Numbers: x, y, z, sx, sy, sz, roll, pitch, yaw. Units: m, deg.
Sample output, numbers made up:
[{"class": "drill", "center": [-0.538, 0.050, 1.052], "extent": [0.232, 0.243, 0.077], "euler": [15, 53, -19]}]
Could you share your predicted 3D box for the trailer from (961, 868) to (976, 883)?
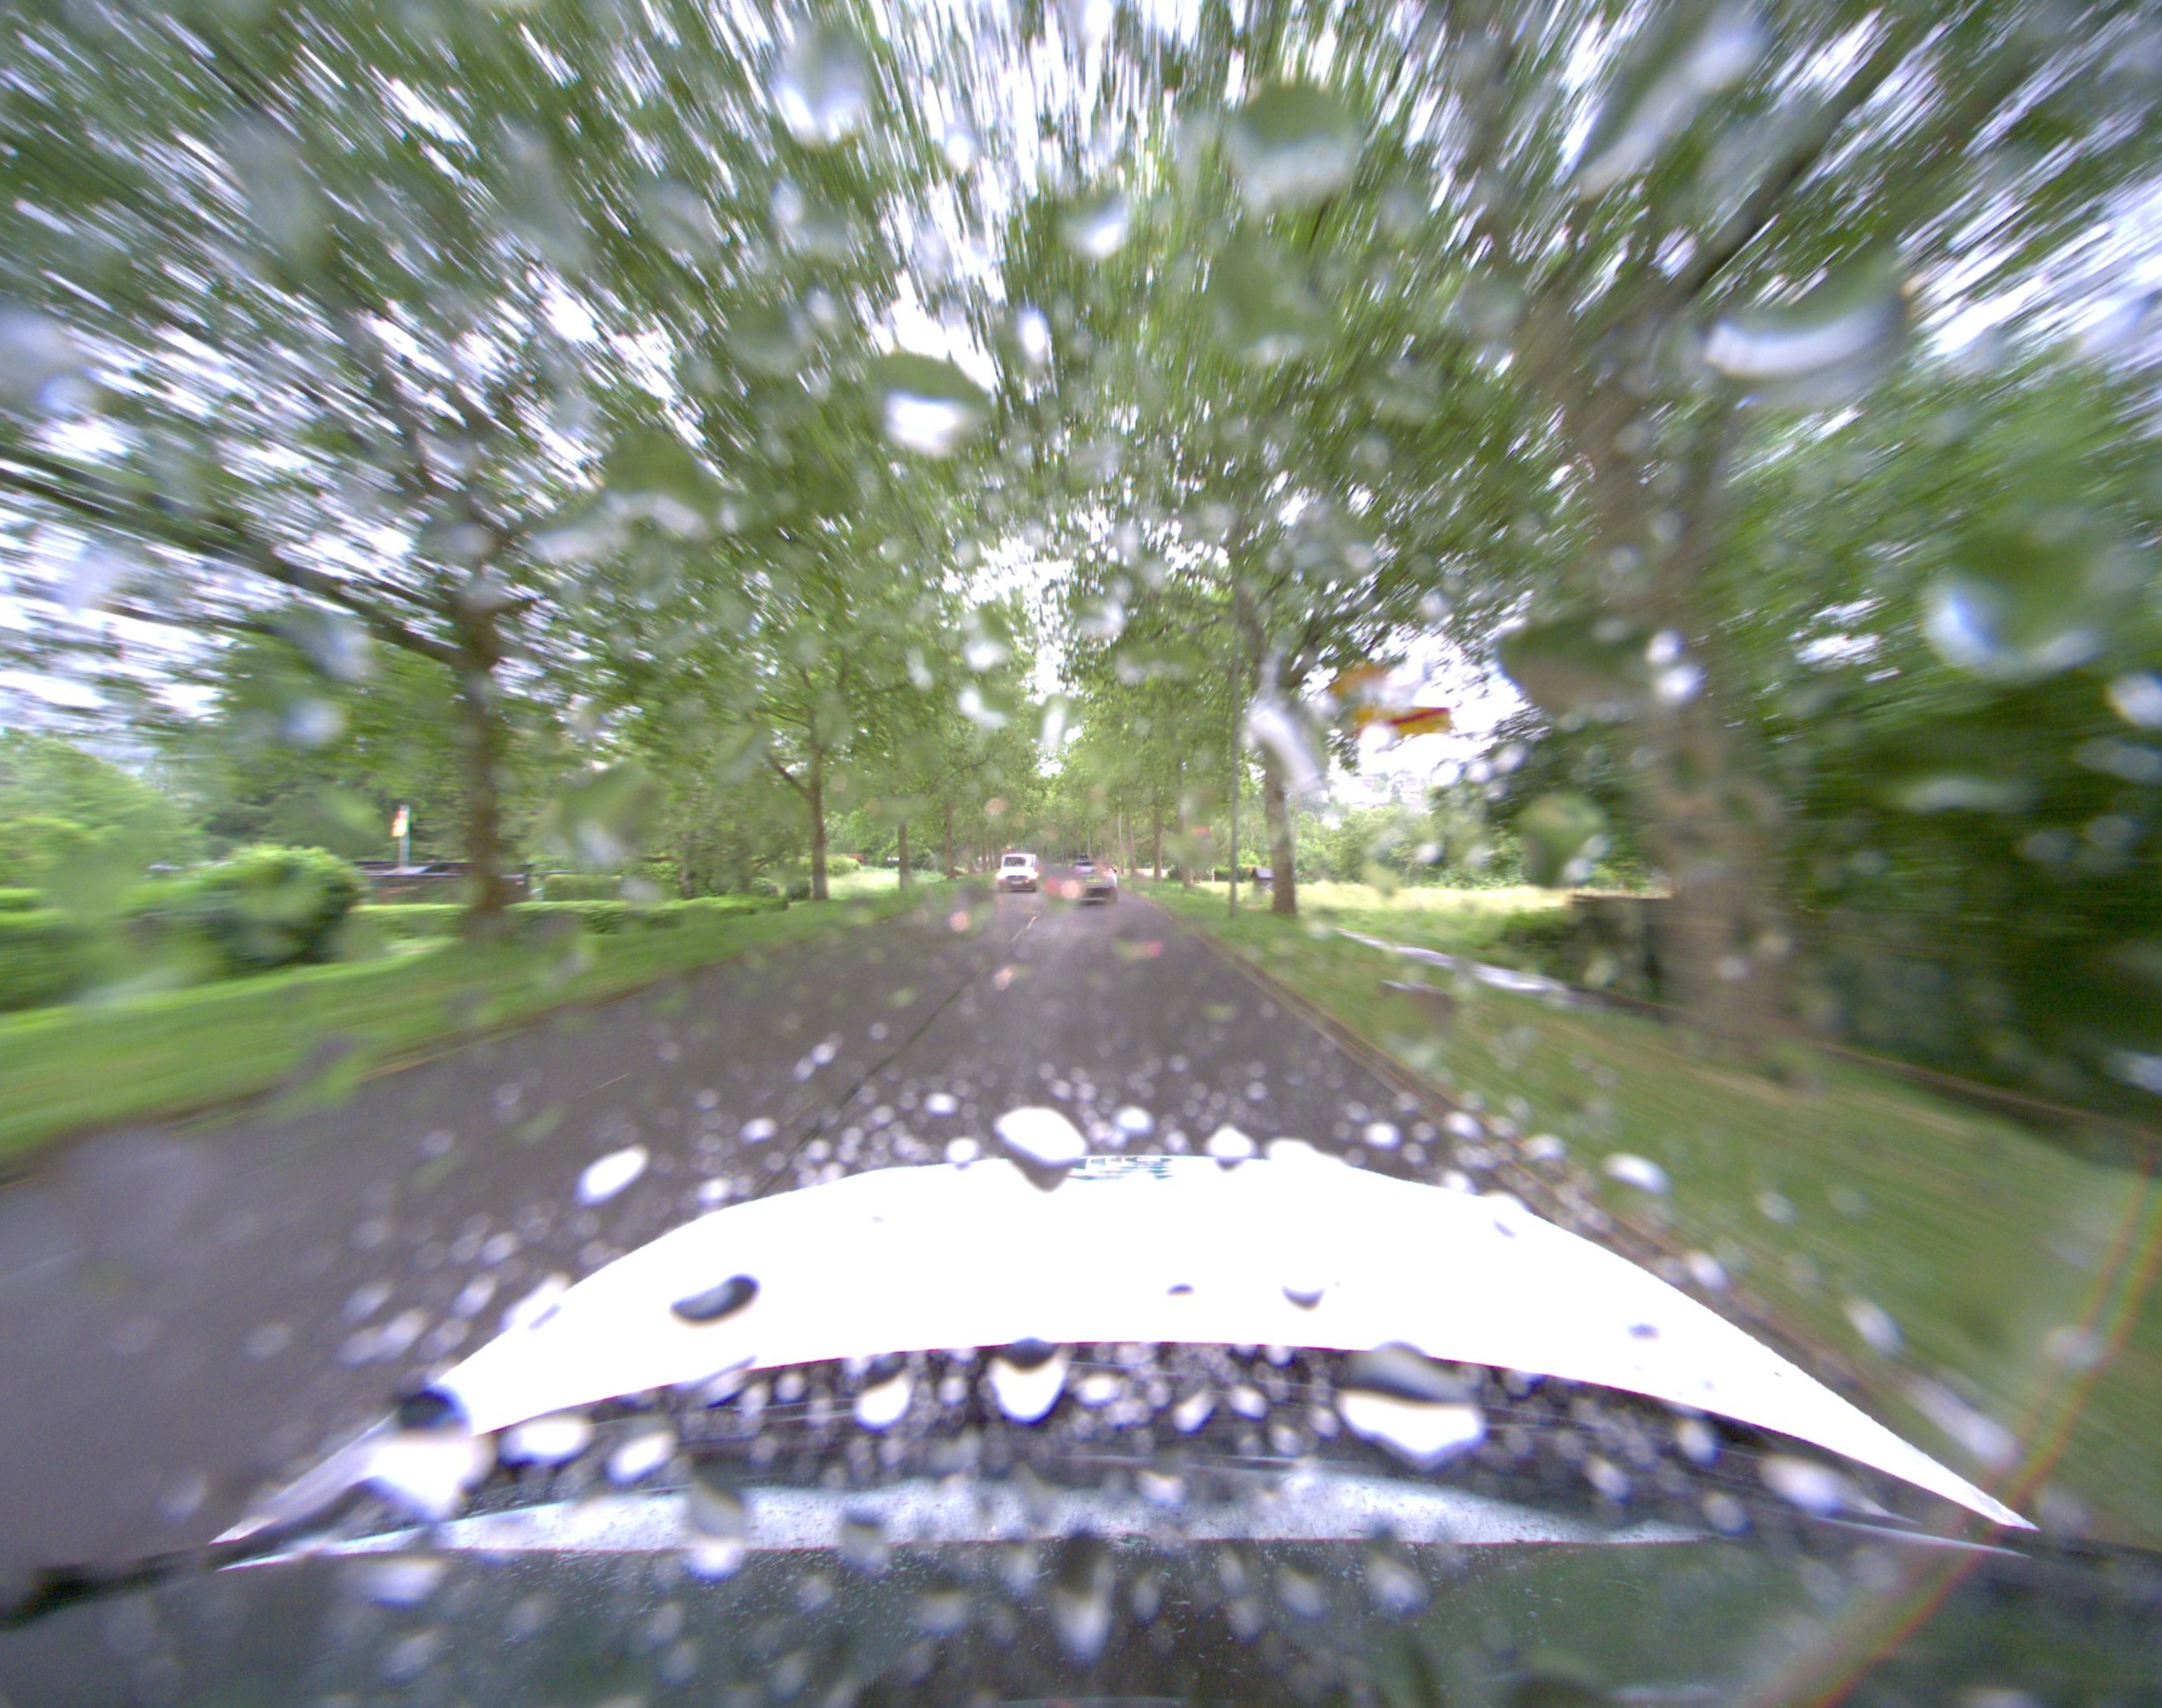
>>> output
[{"class": "trailer", "center": [-21.205, 4.053, 153.791], "extent": [2.481, 2.567, 5.321], "euler": [0, -1, -6]}]

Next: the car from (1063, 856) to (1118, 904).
[{"class": "car", "center": [0.400, 0.869, 29.250], "extent": [1.786, 1.578, 3.848], "euler": [0, 0, 3]}]

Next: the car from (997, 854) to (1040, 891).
[{"class": "car", "center": [-3.137, 0.922, 41.812], "extent": [1.857, 1.750, 5.014], "euler": [0, 0, 0]}]
